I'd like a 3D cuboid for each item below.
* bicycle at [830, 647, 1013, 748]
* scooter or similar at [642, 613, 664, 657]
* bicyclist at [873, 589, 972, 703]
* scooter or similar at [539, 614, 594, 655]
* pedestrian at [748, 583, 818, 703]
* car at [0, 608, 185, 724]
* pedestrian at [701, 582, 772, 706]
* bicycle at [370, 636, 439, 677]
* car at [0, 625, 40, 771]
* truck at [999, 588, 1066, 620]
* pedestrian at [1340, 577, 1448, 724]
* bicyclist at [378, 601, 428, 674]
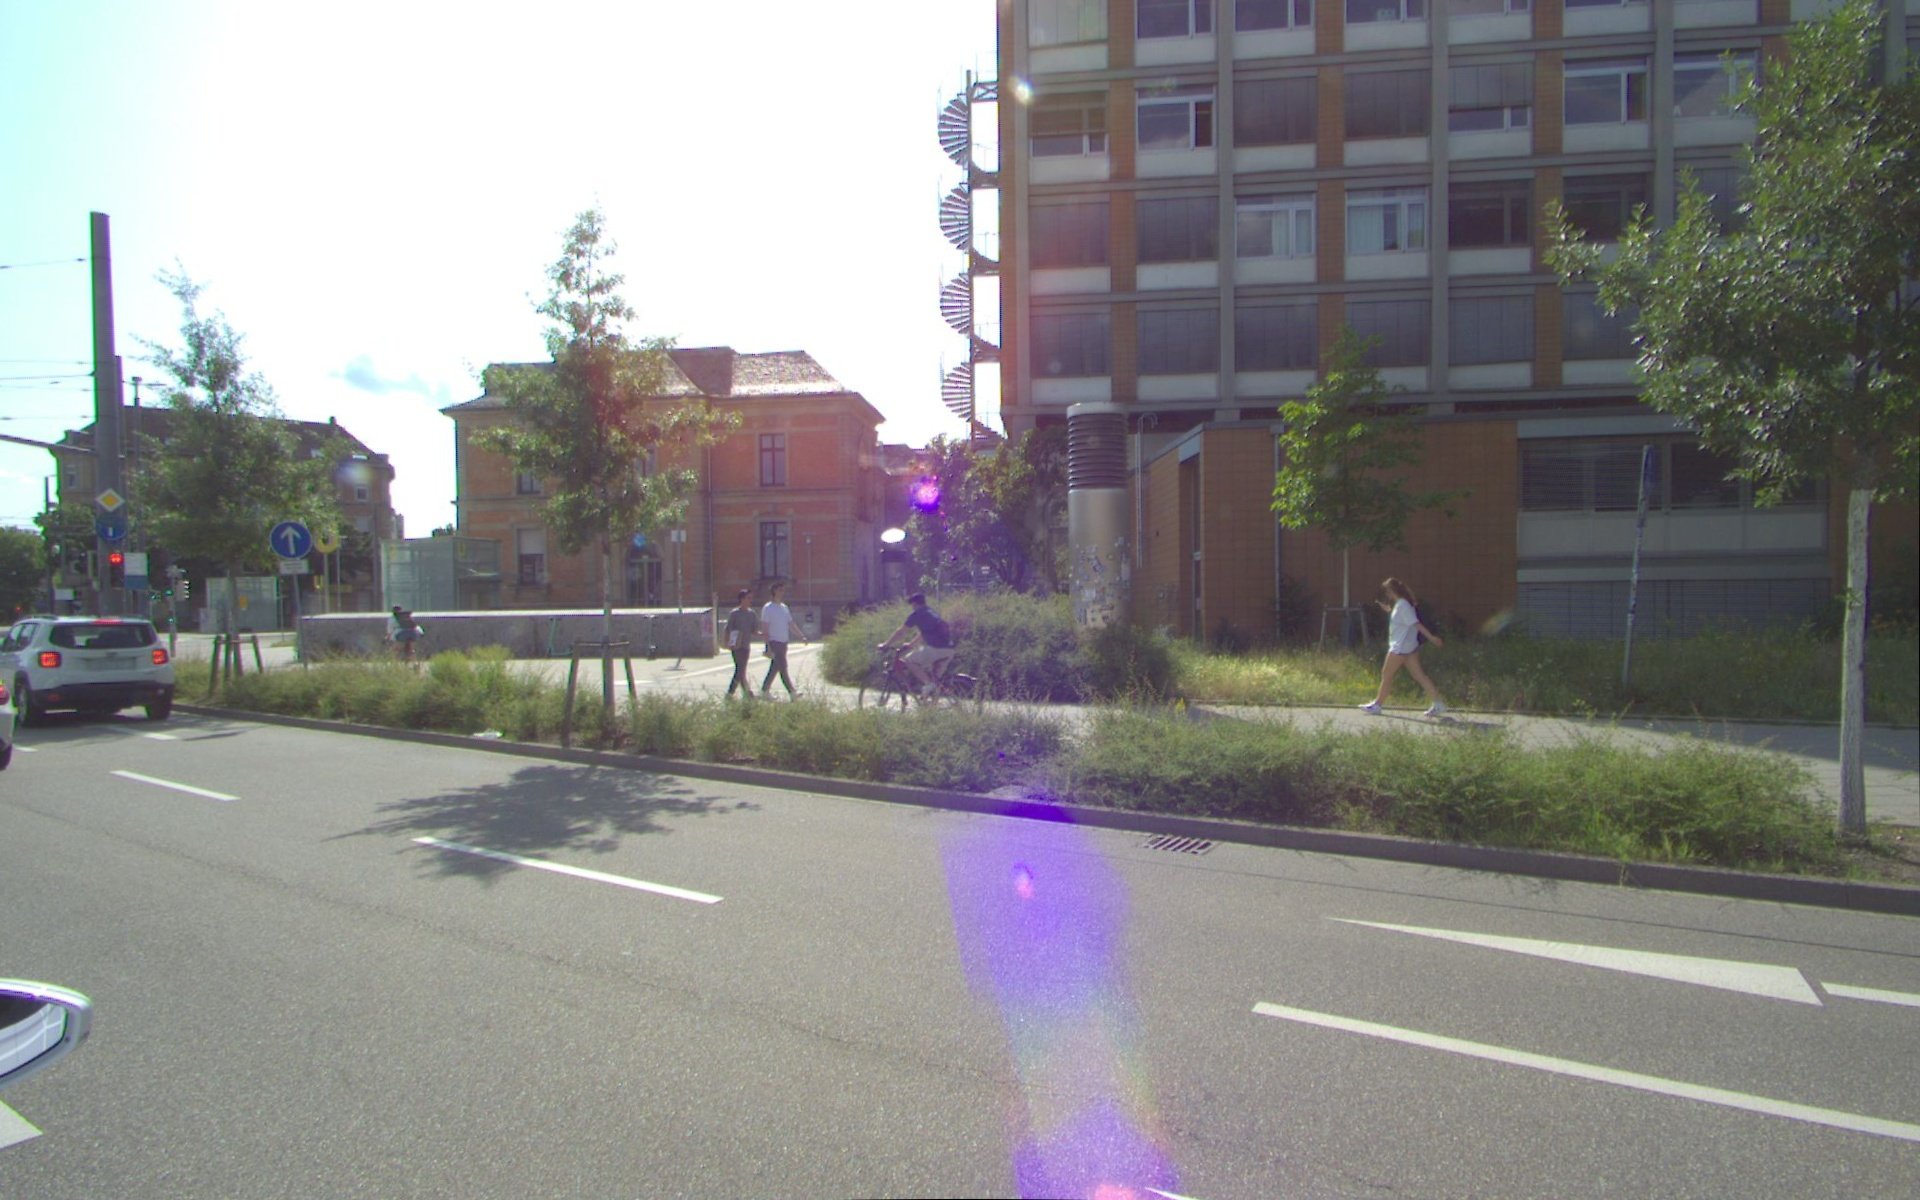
[{"bbox_3d":[-0.450,1.071,11.457,1.932,0.983,0.845,-1,3,32],"label":"bicycle"},{"bbox_3d":[-8.336,0.933,27.233,0.457,1.119,1.316,-1,1,-13],"label":"scooter or similar"},{"bbox_3d":[-0.427,0.502,11.460,0.910,1.237,0.633,0,3,32],"label":"bicyclist"},{"bbox_3d":[-11.248,0.987,28.612,1.420,1.133,0.465,0,2,13],"label":"scooter or similar"},{"bbox_3d":[-2.746,0.634,15.537,0.734,1.770,0.884,-4,3,-31],"label":"pedestrian"},{"bbox_3d":[-14.392,1.005,16.404,3.951,1.673,1.829,-2,-1,39],"label":"car"},{"bbox_3d":[-3.384,0.637,15.124,0.734,1.778,0.884,-4,3,-31],"label":"pedestrian"},{"bbox_3d":[-11.463,1.142,20.648,1.599,0.786,0.583,-1,0,34],"label":"bicycle"},{"bbox_3d":[-11.317,0.994,10.467,3.631,1.437,1.844,-1,-1,36],"label":"car"},{"bbox_3d":[4.920,0.283,67.493,4.304,2.039,2.000,0,-2,11],"label":"truck"},{"bbox_3d":[5.119,0.572,11.805,1.080,1.645,0.612,-1,3,31],"label":"pedestrian"},{"bbox_3d":[-11.509,0.759,20.679,0.763,1.470,0.606,0,0,33],"label":"bicyclist"}]
